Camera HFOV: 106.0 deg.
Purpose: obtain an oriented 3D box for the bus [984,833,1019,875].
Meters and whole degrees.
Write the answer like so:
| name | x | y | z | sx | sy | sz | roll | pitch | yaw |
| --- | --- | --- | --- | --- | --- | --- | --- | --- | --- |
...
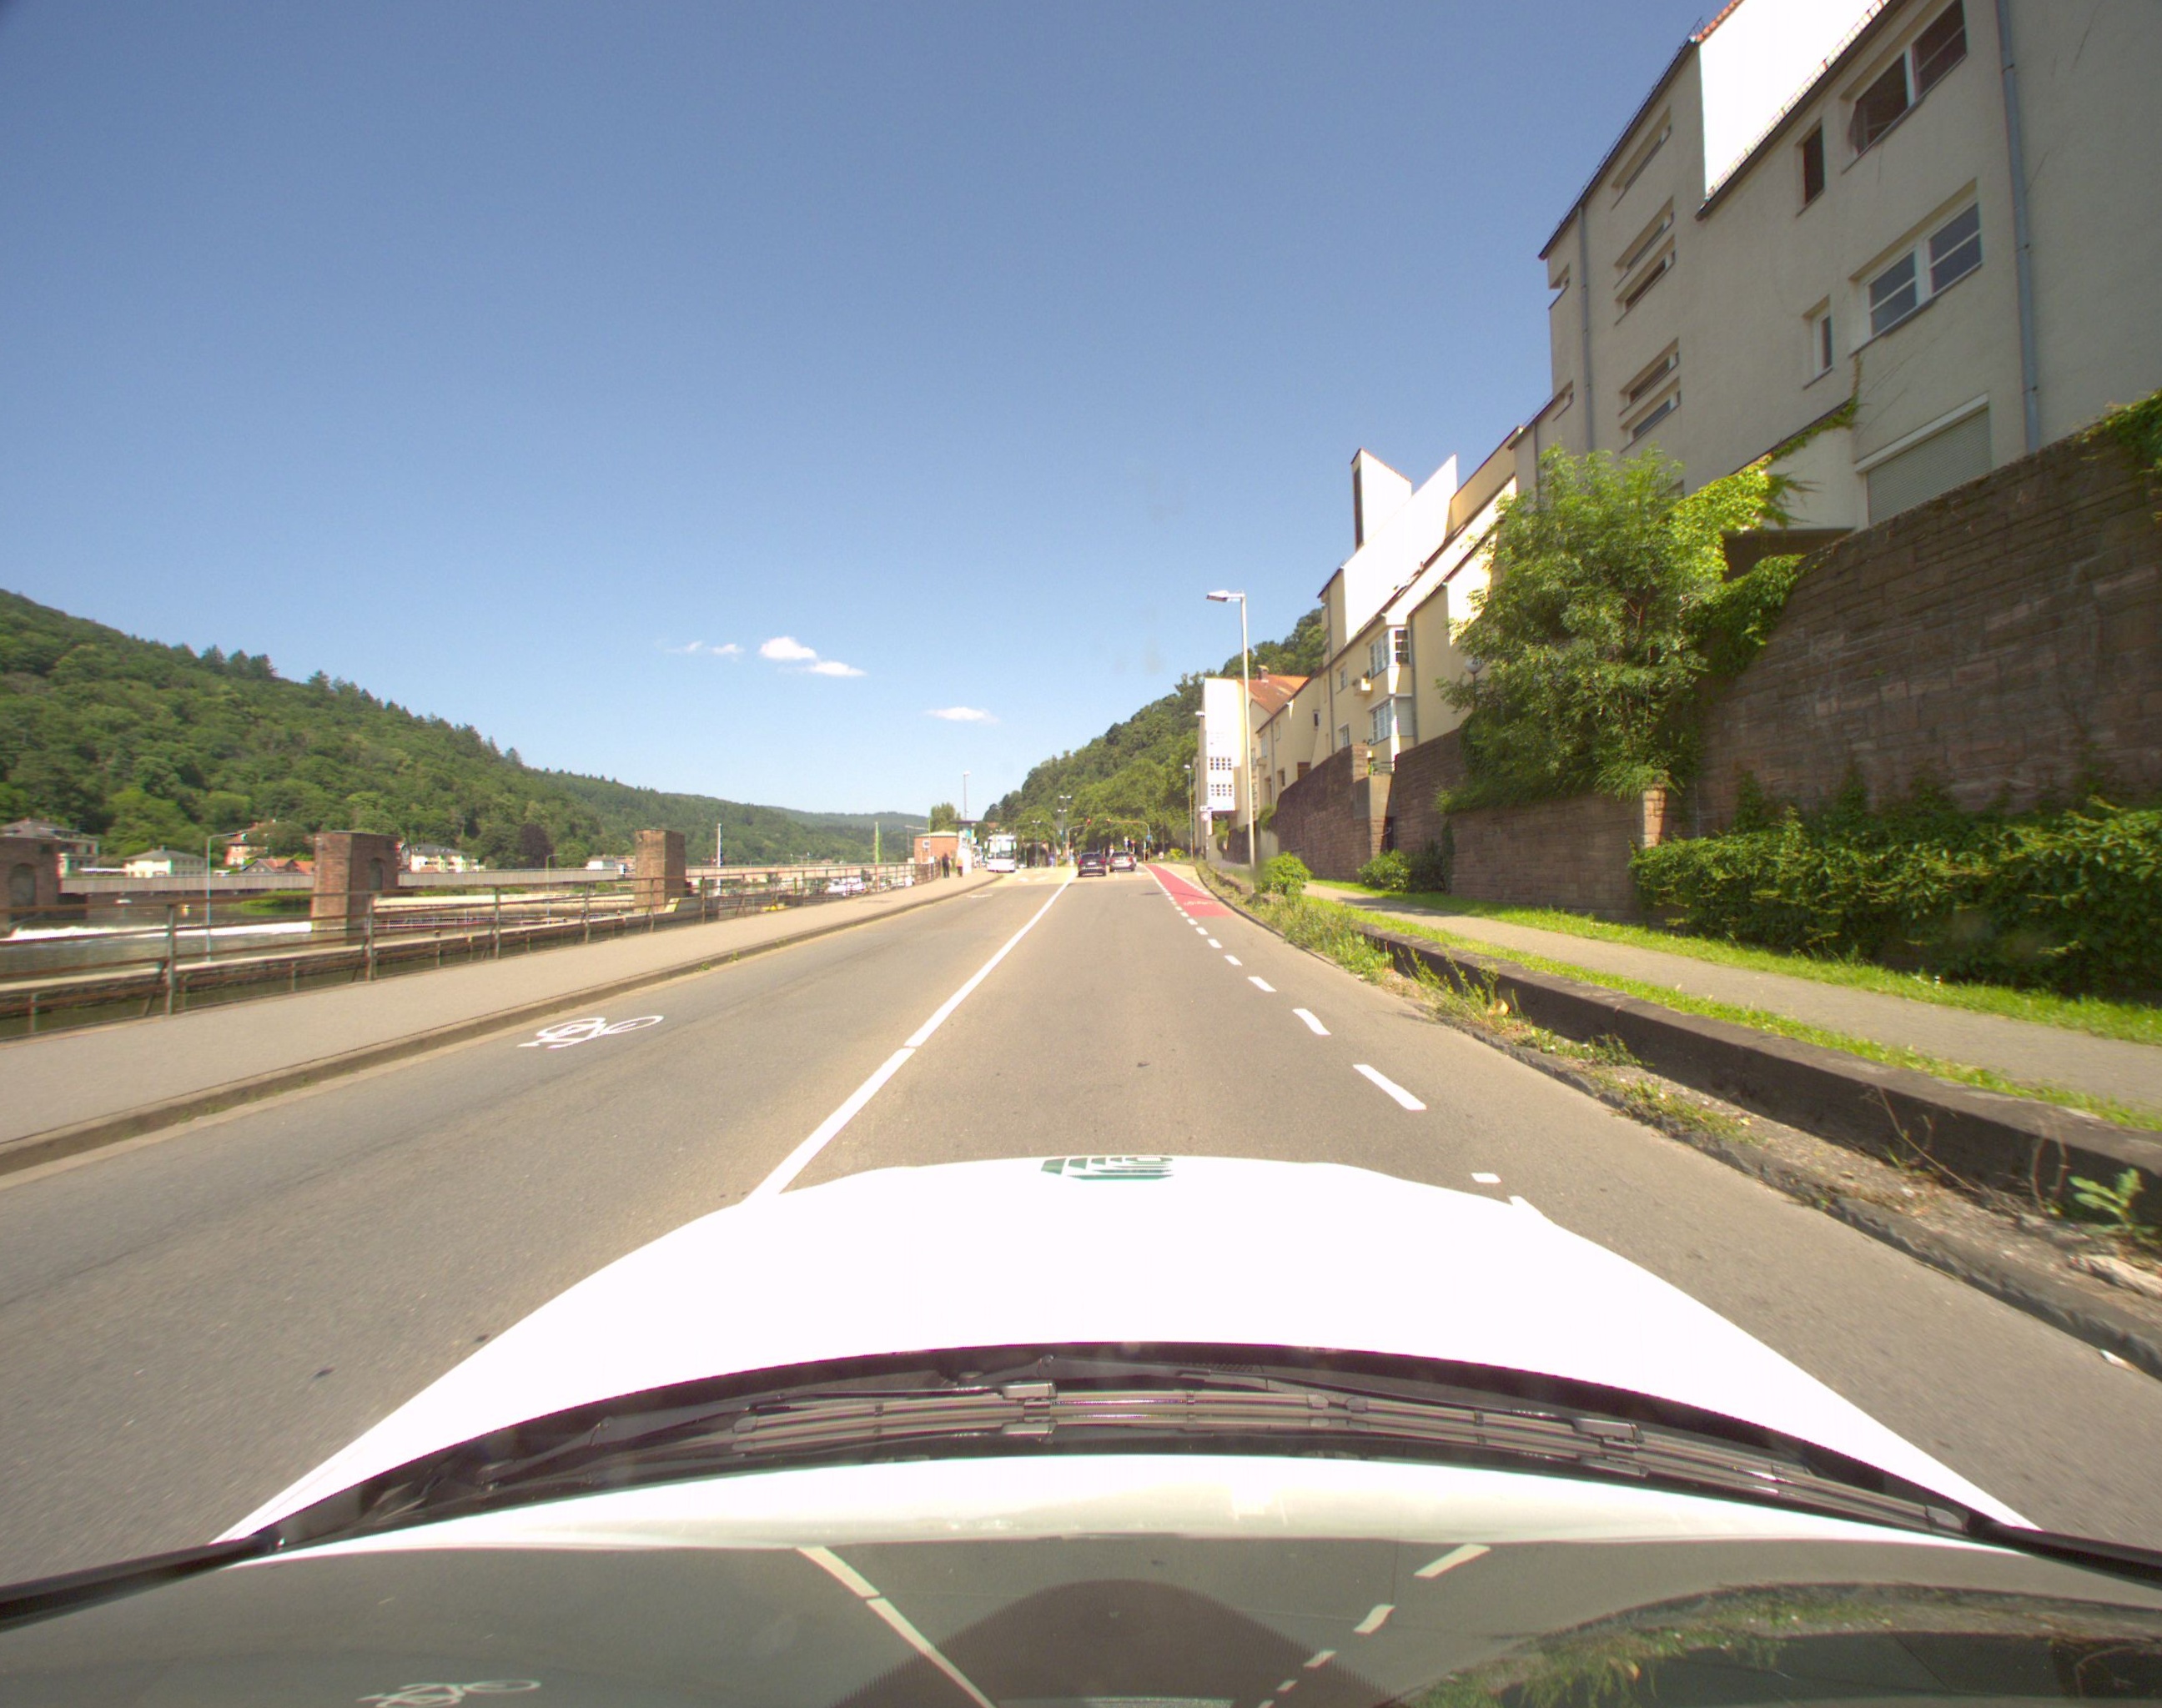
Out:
| name | x | y | z | sx | sy | sz | roll | pitch | yaw |
| --- | --- | --- | --- | --- | --- | --- | --- | --- | --- |
| bus | -7.857 | 0.096 | 81.957 | 2.951 | 3.801 | 13.225 | -2 | -1 | -4 |

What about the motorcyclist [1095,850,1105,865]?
| name | x | y | z | sx | sy | sz | roll | pitch | yaw |
| --- | --- | --- | --- | --- | --- | --- | --- | --- | --- |
| motorcyclist | 2.159 | 0.367 | 93.183 | 1.072 | 1.684 | 1.156 | -3 | 0 | 0 |

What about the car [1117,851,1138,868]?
| name | x | y | z | sx | sy | sz | roll | pitch | yaw |
| --- | --- | --- | --- | --- | --- | --- | --- | --- | --- |
| car | 4.575 | 0.544 | 80.570 | 1.986 | 1.534 | 4.860 | -1 | -1 | 1 |

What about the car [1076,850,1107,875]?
| name | x | y | z | sx | sy | sz | roll | pitch | yaw |
| --- | --- | --- | --- | --- | --- | --- | --- | --- | --- |
| car | 0.706 | 0.567 | 52.150 | 1.862 | 1.514 | 4.152 | -1 | -1 | 1 |

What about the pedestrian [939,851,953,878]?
| name | x | y | z | sx | sy | sz | roll | pitch | yaw |
| --- | --- | --- | --- | --- | --- | --- | --- | --- | --- |
| pedestrian | -8.870 | 0.682 | 53.583 | 0.680 | 1.709 | 0.773 | -2 | -1 | 1 |

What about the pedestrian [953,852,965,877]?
| name | x | y | z | sx | sy | sz | roll | pitch | yaw |
| --- | --- | --- | --- | --- | --- | --- | --- | --- | --- |
| pedestrian | -8.266 | 0.703 | 55.330 | 0.701 | 1.621 | 0.816 | -2 | -1 | -3 |

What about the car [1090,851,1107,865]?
| name | x | y | z | sx | sy | sz | roll | pitch | yaw |
| --- | --- | --- | --- | --- | --- | --- | --- | --- | --- |
| car | 2.083 | 0.450 | 98.430 | 1.861 | 1.562 | 3.998 | -3 | 0 | -1 |

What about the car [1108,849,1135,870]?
| name | x | y | z | sx | sy | sz | roll | pitch | yaw |
| --- | --- | --- | --- | --- | --- | --- | --- | --- | --- |
| car | 2.967 | 0.419 | 60.906 | 1.881 | 1.521 | 4.307 | -1 | -1 | 1 |

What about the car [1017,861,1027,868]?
| name | x | y | z | sx | sy | sz | roll | pitch | yaw |
| --- | --- | --- | --- | --- | --- | --- | --- | --- | --- |
| car | -12.042 | 2.127 | 165.570 | 1.991 | 1.432 | 4.159 | -3 | 0 | -6 |
